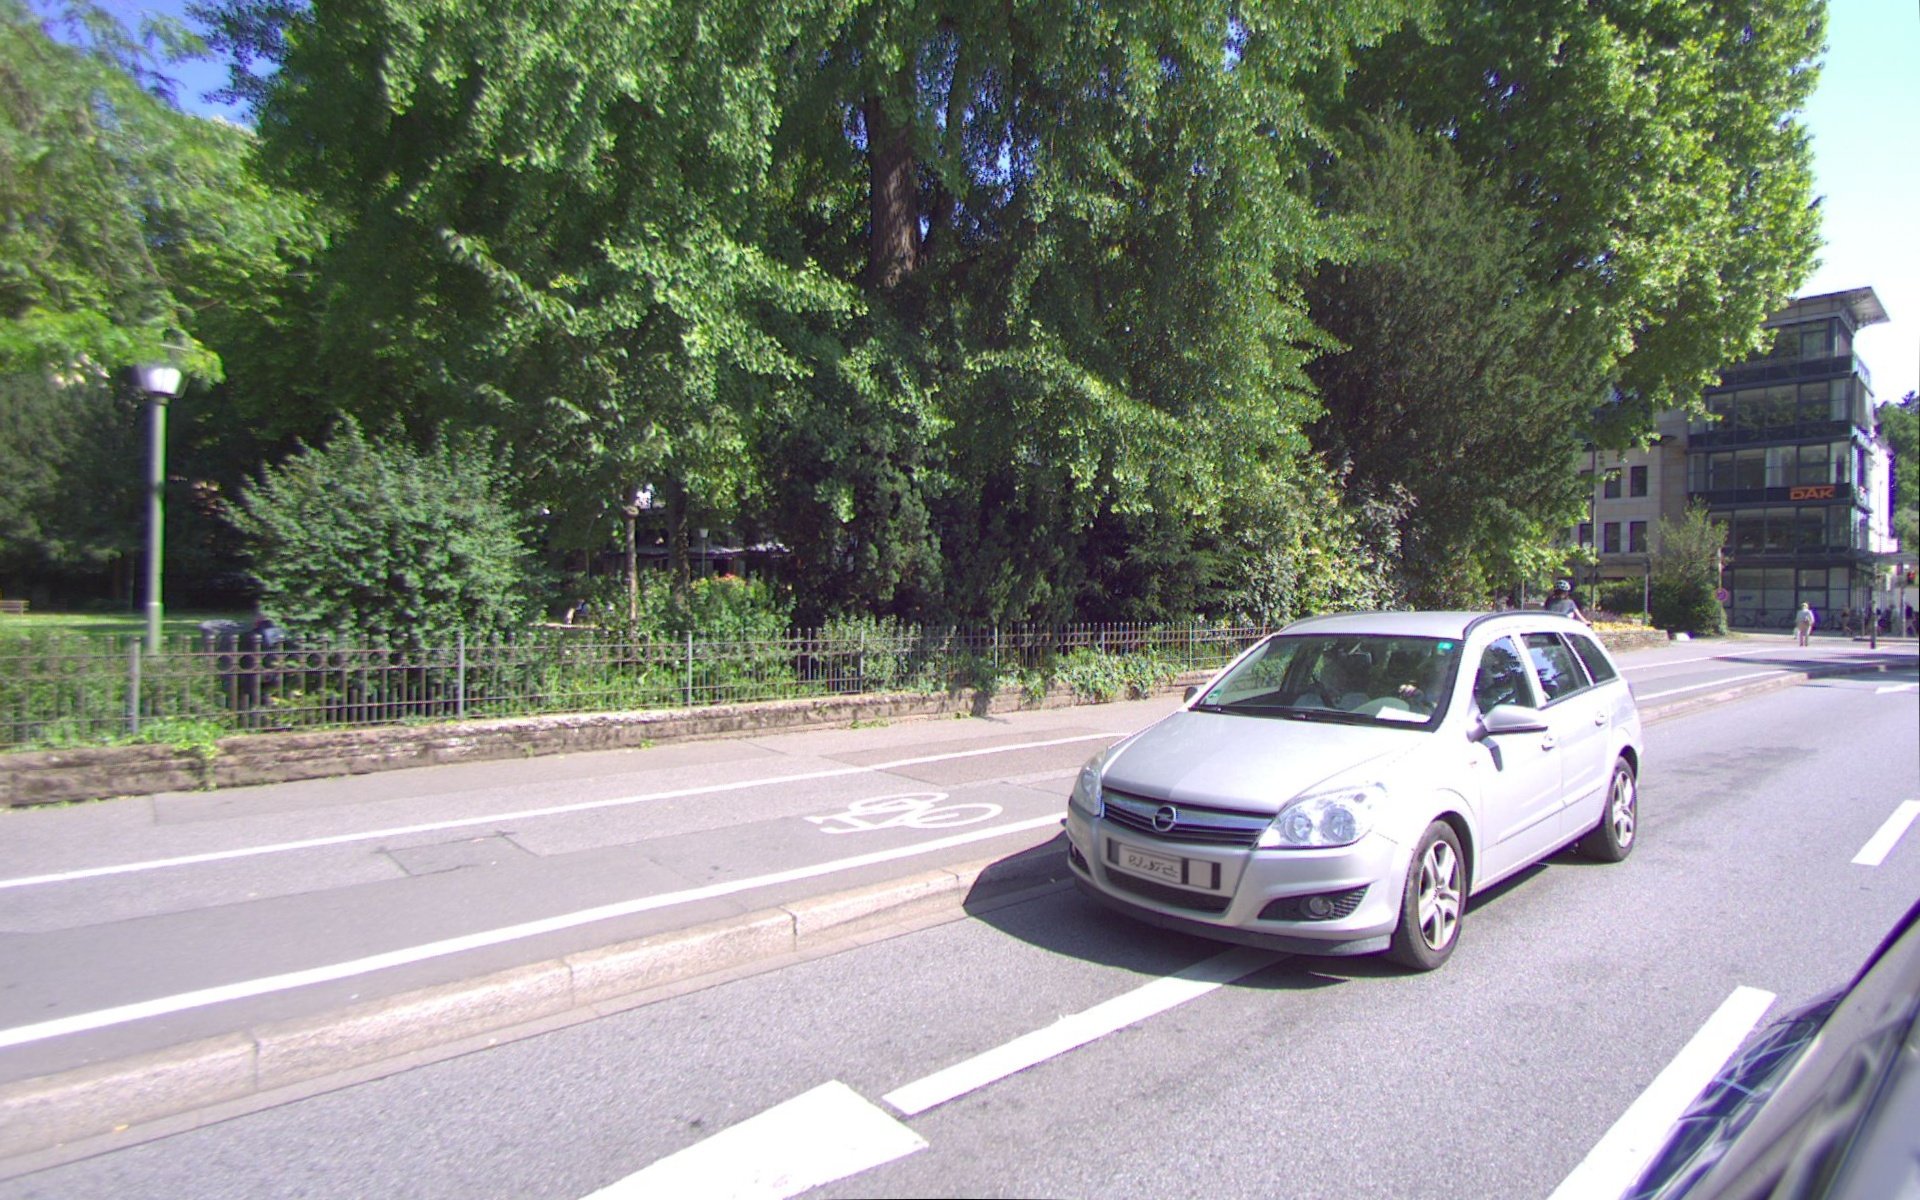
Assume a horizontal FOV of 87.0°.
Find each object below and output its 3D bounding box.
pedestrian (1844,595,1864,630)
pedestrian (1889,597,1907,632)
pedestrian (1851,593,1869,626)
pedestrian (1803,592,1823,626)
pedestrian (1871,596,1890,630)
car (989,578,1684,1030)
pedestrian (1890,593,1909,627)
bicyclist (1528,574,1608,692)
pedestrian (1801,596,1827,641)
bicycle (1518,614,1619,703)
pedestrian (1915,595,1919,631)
[{"bbox_3d":[44.069,0.619,49.909,0.635,1.727,0.652,1,-1,-41],"label":"pedestrian"},{"bbox_3d":[46.104,0.707,49.750,0.678,1.727,0.603,1,-1,-44],"label":"pedestrian"},{"bbox_3d":[46.502,0.494,52.281,0.593,1.727,0.602,1,-1,-36],"label":"pedestrian"},{"bbox_3d":[43.214,0.465,51.271,0.592,1.727,0.689,1,-1,-41],"label":"pedestrian"},{"bbox_3d":[47.082,0.661,51.751,0.593,1.727,0.602,1,-1,-36],"label":"pedestrian"},{"bbox_3d":[2.328,0.725,5.536,4.329,1.541,1.710,1,-1,-41],"label":"car"},{"bbox_3d":[47.653,0.511,51.323,0.593,1.727,0.602,1,-1,-36],"label":"pedestrian"},{"bbox_3d":[8.894,0.450,14.805,0.927,1.656,0.765,0,1,-43],"label":"bicyclist"},{"bbox_3d":[32.821,0.708,38.885,0.526,1.694,0.709,1,-1,-45],"label":"pedestrian"},{"bbox_3d":[8.895,0.813,14.762,1.968,1.134,0.758,-1,1,-43],"label":"bicycle"},{"bbox_3d":[46.230,0.629,48.419,0.592,1.727,0.701,1,-1,-39],"label":"pedestrian"}]
